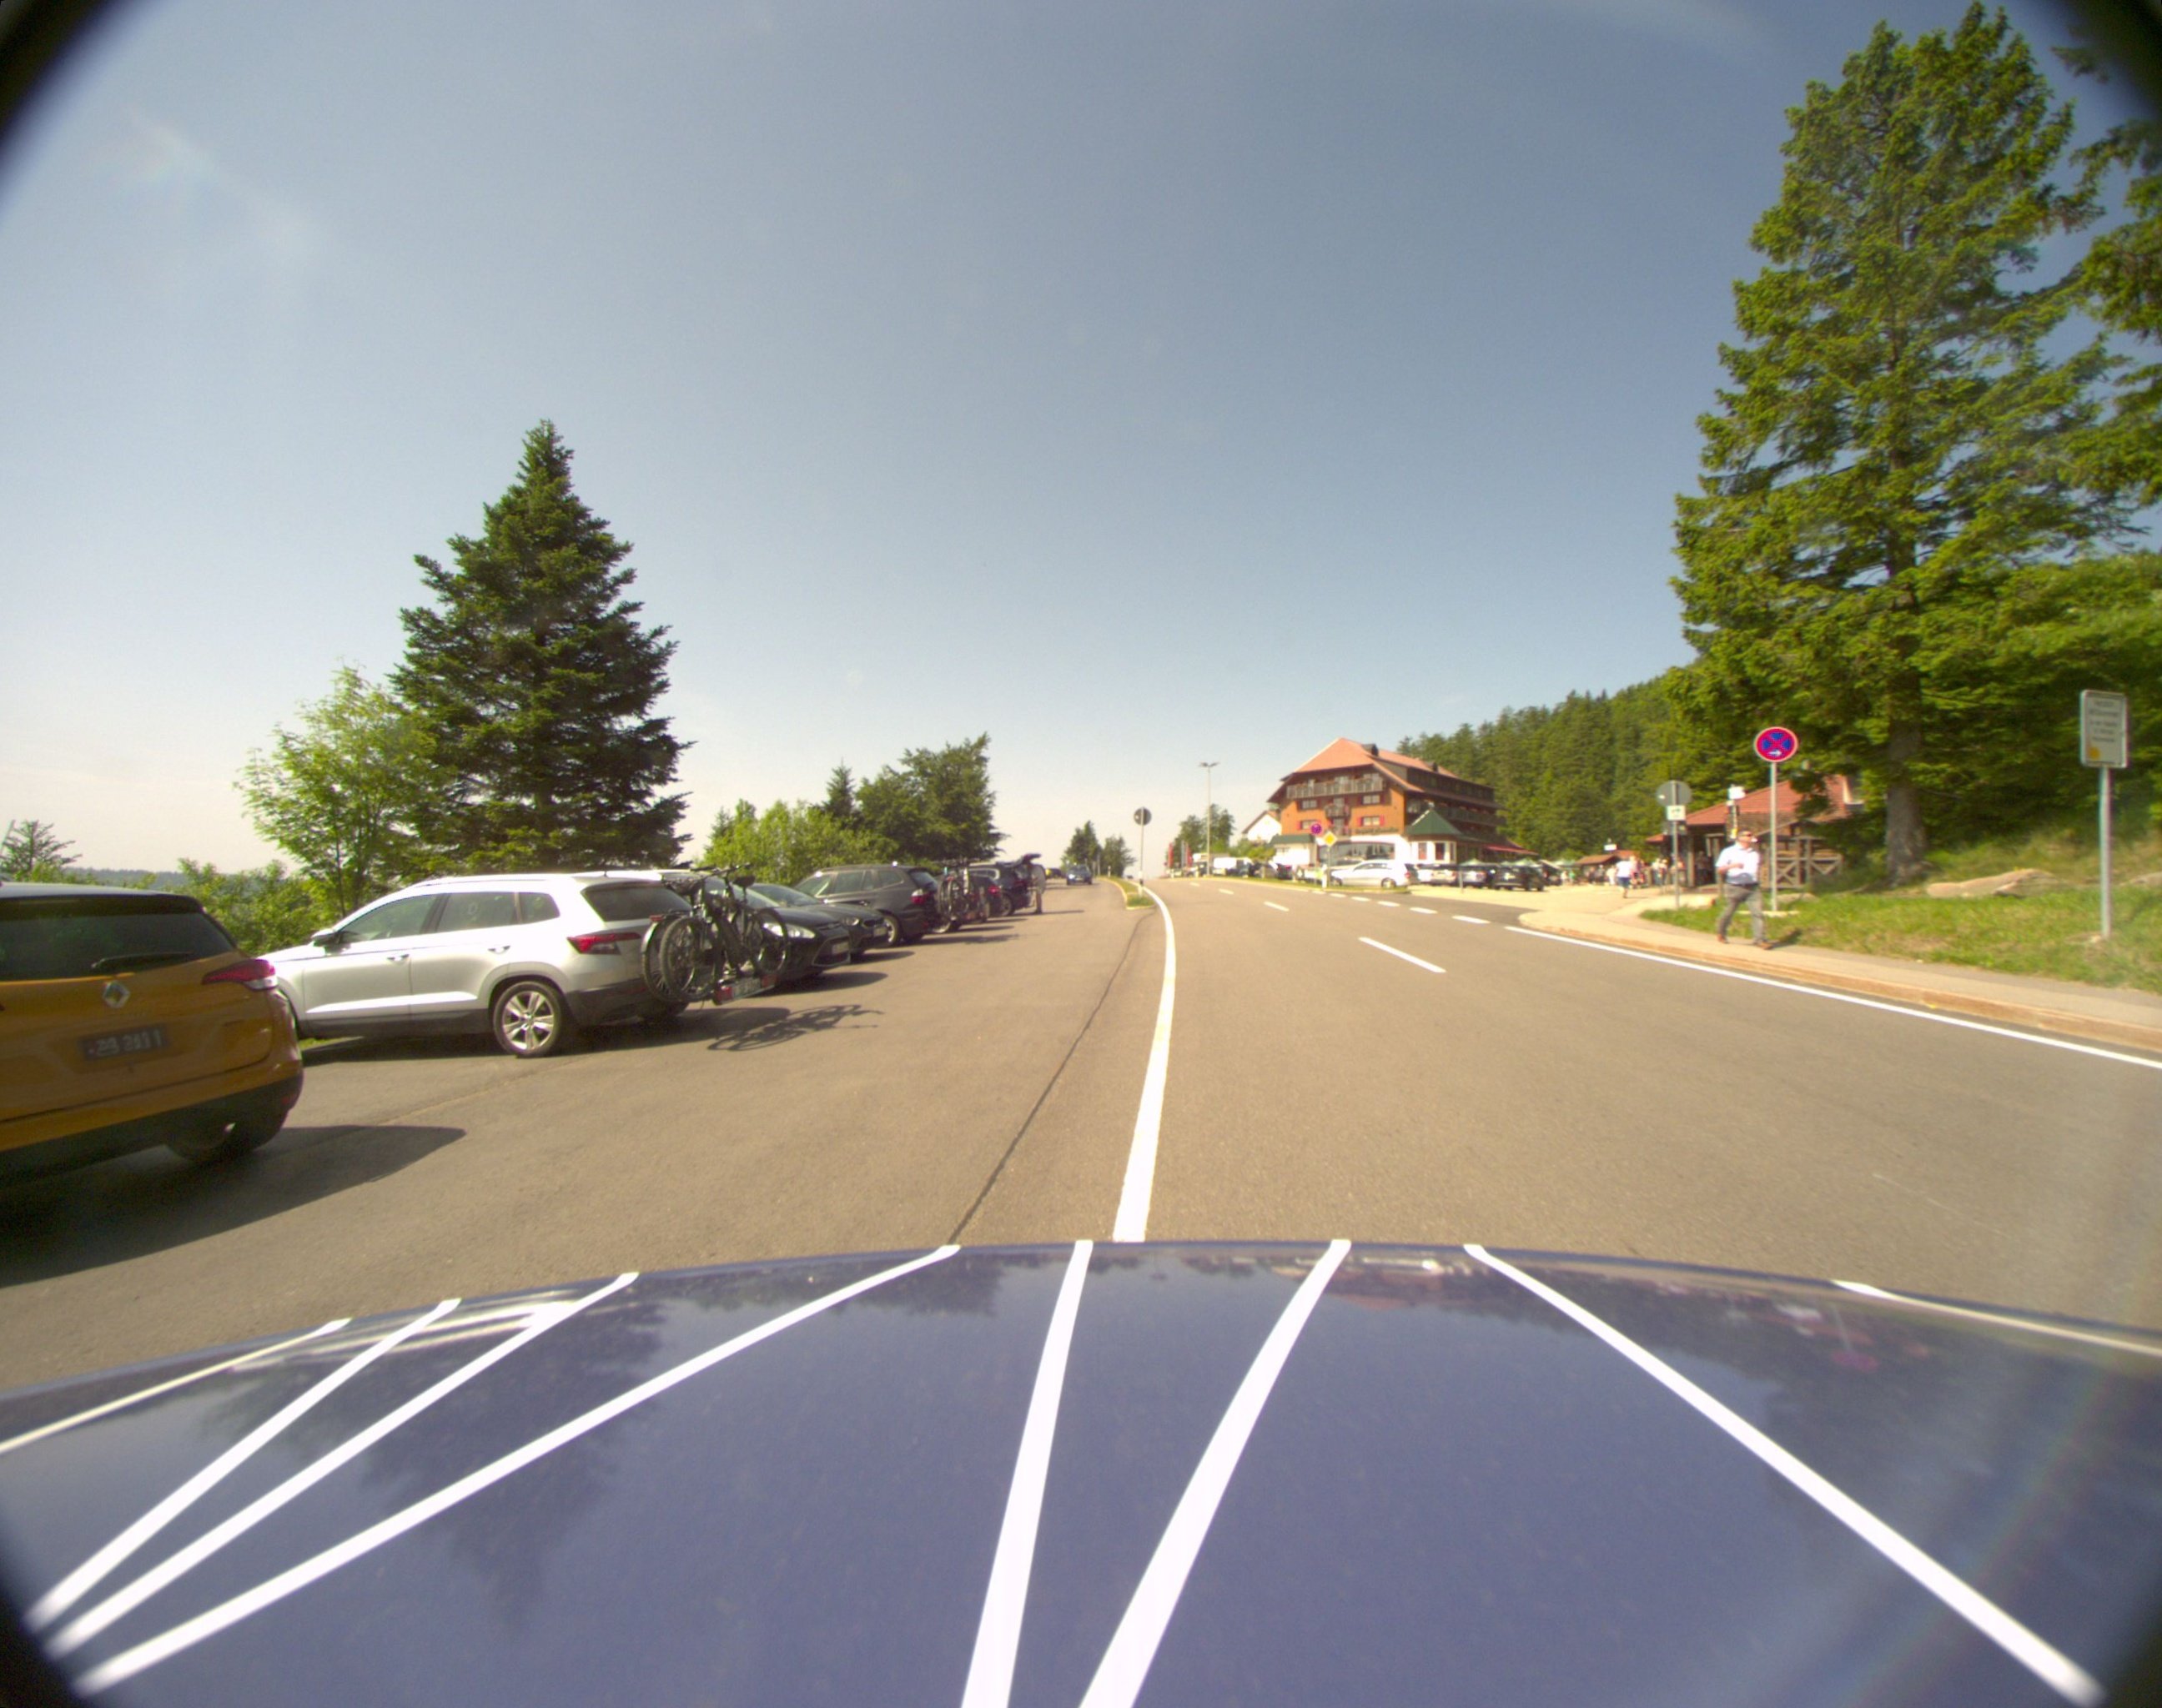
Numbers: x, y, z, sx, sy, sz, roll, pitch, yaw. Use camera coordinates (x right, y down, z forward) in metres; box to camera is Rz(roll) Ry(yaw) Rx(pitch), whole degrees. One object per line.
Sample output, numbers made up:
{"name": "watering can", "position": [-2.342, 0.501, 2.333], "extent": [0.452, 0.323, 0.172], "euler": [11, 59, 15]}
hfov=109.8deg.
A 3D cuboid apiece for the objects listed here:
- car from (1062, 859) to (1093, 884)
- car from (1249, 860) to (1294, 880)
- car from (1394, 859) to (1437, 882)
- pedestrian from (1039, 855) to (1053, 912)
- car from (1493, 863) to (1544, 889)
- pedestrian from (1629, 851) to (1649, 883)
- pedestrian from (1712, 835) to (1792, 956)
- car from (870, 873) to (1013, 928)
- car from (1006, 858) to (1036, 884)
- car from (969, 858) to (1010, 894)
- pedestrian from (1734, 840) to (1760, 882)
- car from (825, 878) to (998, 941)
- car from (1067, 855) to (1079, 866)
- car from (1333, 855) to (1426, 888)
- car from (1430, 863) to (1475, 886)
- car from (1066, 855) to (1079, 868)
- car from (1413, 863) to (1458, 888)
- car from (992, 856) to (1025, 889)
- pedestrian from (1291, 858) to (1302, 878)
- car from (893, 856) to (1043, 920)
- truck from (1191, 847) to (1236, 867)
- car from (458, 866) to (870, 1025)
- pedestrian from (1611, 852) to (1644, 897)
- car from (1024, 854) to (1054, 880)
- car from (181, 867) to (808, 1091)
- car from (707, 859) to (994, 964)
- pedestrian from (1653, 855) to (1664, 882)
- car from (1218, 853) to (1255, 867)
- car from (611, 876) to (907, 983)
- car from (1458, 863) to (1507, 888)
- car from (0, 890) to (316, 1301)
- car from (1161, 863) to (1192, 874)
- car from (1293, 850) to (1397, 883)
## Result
{"name": "car", "position": [-0.234, 1.202, 53.336], "extent": [1.998, 1.537, 4.000], "euler": [-2, 0, 0]}
{"name": "car", "position": [15.950, 1.303, 63.712], "extent": [1.719, 1.583, 3.325], "euler": [-1, 0, -41]}
{"name": "car", "position": [23.941, 1.154, 54.314], "extent": [3.141, 1.543, 1.710], "euler": [-2, 0, -44]}
{"name": "pedestrian", "position": [-1.128, 0.937, 24.616], "extent": [0.367, 1.812, 0.549], "euler": [-1, 0, 5]}
{"name": "car", "position": [24.159, 1.176, 41.900], "extent": [1.708, 1.387, 3.323], "euler": [-1, -1, 43]}
{"name": "pedestrian", "position": [28.935, 0.679, 39.404], "extent": [0.770, 1.657, 0.891], "euler": [-1, 0, 35]}
{"name": "pedestrian", "position": [9.952, 0.604, 11.295], "extent": [0.580, 1.731, 0.687], "euler": [-1, 0, 3]}
{"name": "car", "position": [-3.878, 1.294, 21.561], "extent": [3.683, 1.343, 1.738], "euler": [-2, 0, -1]}
{"name": "car", "position": [-4.356, 1.215, 54.913], "extent": [1.999, 1.733, 3.998], "euler": [-2, 0, -5]}
{"name": "car", "position": [-5.028, 1.162, 42.106], "extent": [1.866, 1.830, 3.882], "euler": [-2, 0, -2]}
{"name": "pedestrian", "position": [32.732, 0.342, 37.329], "extent": [0.894, 2.002, 0.789], "euler": [-1, 1, 44]}
{"name": "car", "position": [-4.009, 1.313, 18.299], "extent": [3.707, 1.261, 1.565], "euler": [-3, -1, 5]}
{"name": "car", "position": [-1.460, 1.170, 135.419], "extent": [1.952, 1.970, 4.069], "euler": [-1, 0, -4]}
{"name": "car", "position": [14.972, 0.879, 38.183], "extent": [3.952, 1.578, 1.794], "euler": [-1, 0, 42]}
{"name": "car", "position": [23.548, 1.259, 48.081], "extent": [1.636, 1.425, 3.323], "euler": [-1, -1, 43]}
{"name": "car", "position": [-1.426, 1.255, 130.281], "extent": [1.999, 2.002, 3.999], "euler": [-2, 0, -2]}
{"name": "car", "position": [23.935, 1.434, 51.274], "extent": [1.727, 1.457, 3.528], "euler": [-2, 0, 42]}
{"name": "car", "position": [-4.654, 1.135, 48.888], "extent": [1.999, 2.002, 3.998], "euler": [-2, 0, -5]}
{"name": "pedestrian", "position": [18.349, 1.154, 64.605], "extent": [0.779, 1.689, 0.684], "euler": [-1, 0, 8]}
{"name": "car", "position": [-3.542, 1.056, 24.323], "extent": [4.322, 1.811, 2.001], "euler": [-2, 0, 5]}
{"name": "truck", "position": [20.462, 0.395, 116.972], "extent": [2.862, 2.813, 8.778], "euler": [-2, 0, 39]}
{"name": "car", "position": [-5.285, 1.132, 9.954], "extent": [4.428, 1.609, 1.753], "euler": [-4, 0, 6]}
{"name": "pedestrian", "position": [21.556, 0.789, 29.953], "extent": [0.638, 1.731, 0.910], "euler": [-1, 0, -40]}
{"name": "car", "position": [-3.391, 1.037, 60.758], "extent": [2.000, 2.002, 3.997], "euler": [-1, 0, -8]}
{"name": "car", "position": [-5.251, 1.073, 7.220], "extent": [4.484, 1.617, 2.014], "euler": [-3, 0, 6]}
{"name": "car", "position": [-4.563, 1.124, 15.485], "extent": [5.111, 1.610, 2.001], "euler": [-5, 0, 7]}
{"name": "pedestrian", "position": [35.277, 0.879, 46.413], "extent": [0.521, 1.613, 0.538], "euler": [-1, 0, 41]}
{"name": "car", "position": [22.439, 0.928, 109.724], "extent": [5.247, 1.894, 2.002], "euler": [-1, 0, 10]}
{"name": "car", "position": [-5.386, 1.258, 12.955], "extent": [4.321, 1.423, 1.691], "euler": [-4, 0, 9]}
{"name": "car", "position": [23.676, 1.233, 44.776], "extent": [1.714, 1.425, 3.323], "euler": [-1, -1, 43]}
{"name": "car", "position": [-6.278, 1.132, 3.571], "extent": [3.885, 1.606, 1.711], "euler": [-4, 0, 8]}
{"name": "car", "position": [13.631, 2.118, 108.518], "extent": [3.999, 1.402, 1.999], "euler": [-2, 0, -6]}
{"name": "car", "position": [15.400, 0.743, 44.518], "extent": [5.349, 1.858, 2.004], "euler": [-1, 0, 37]}
